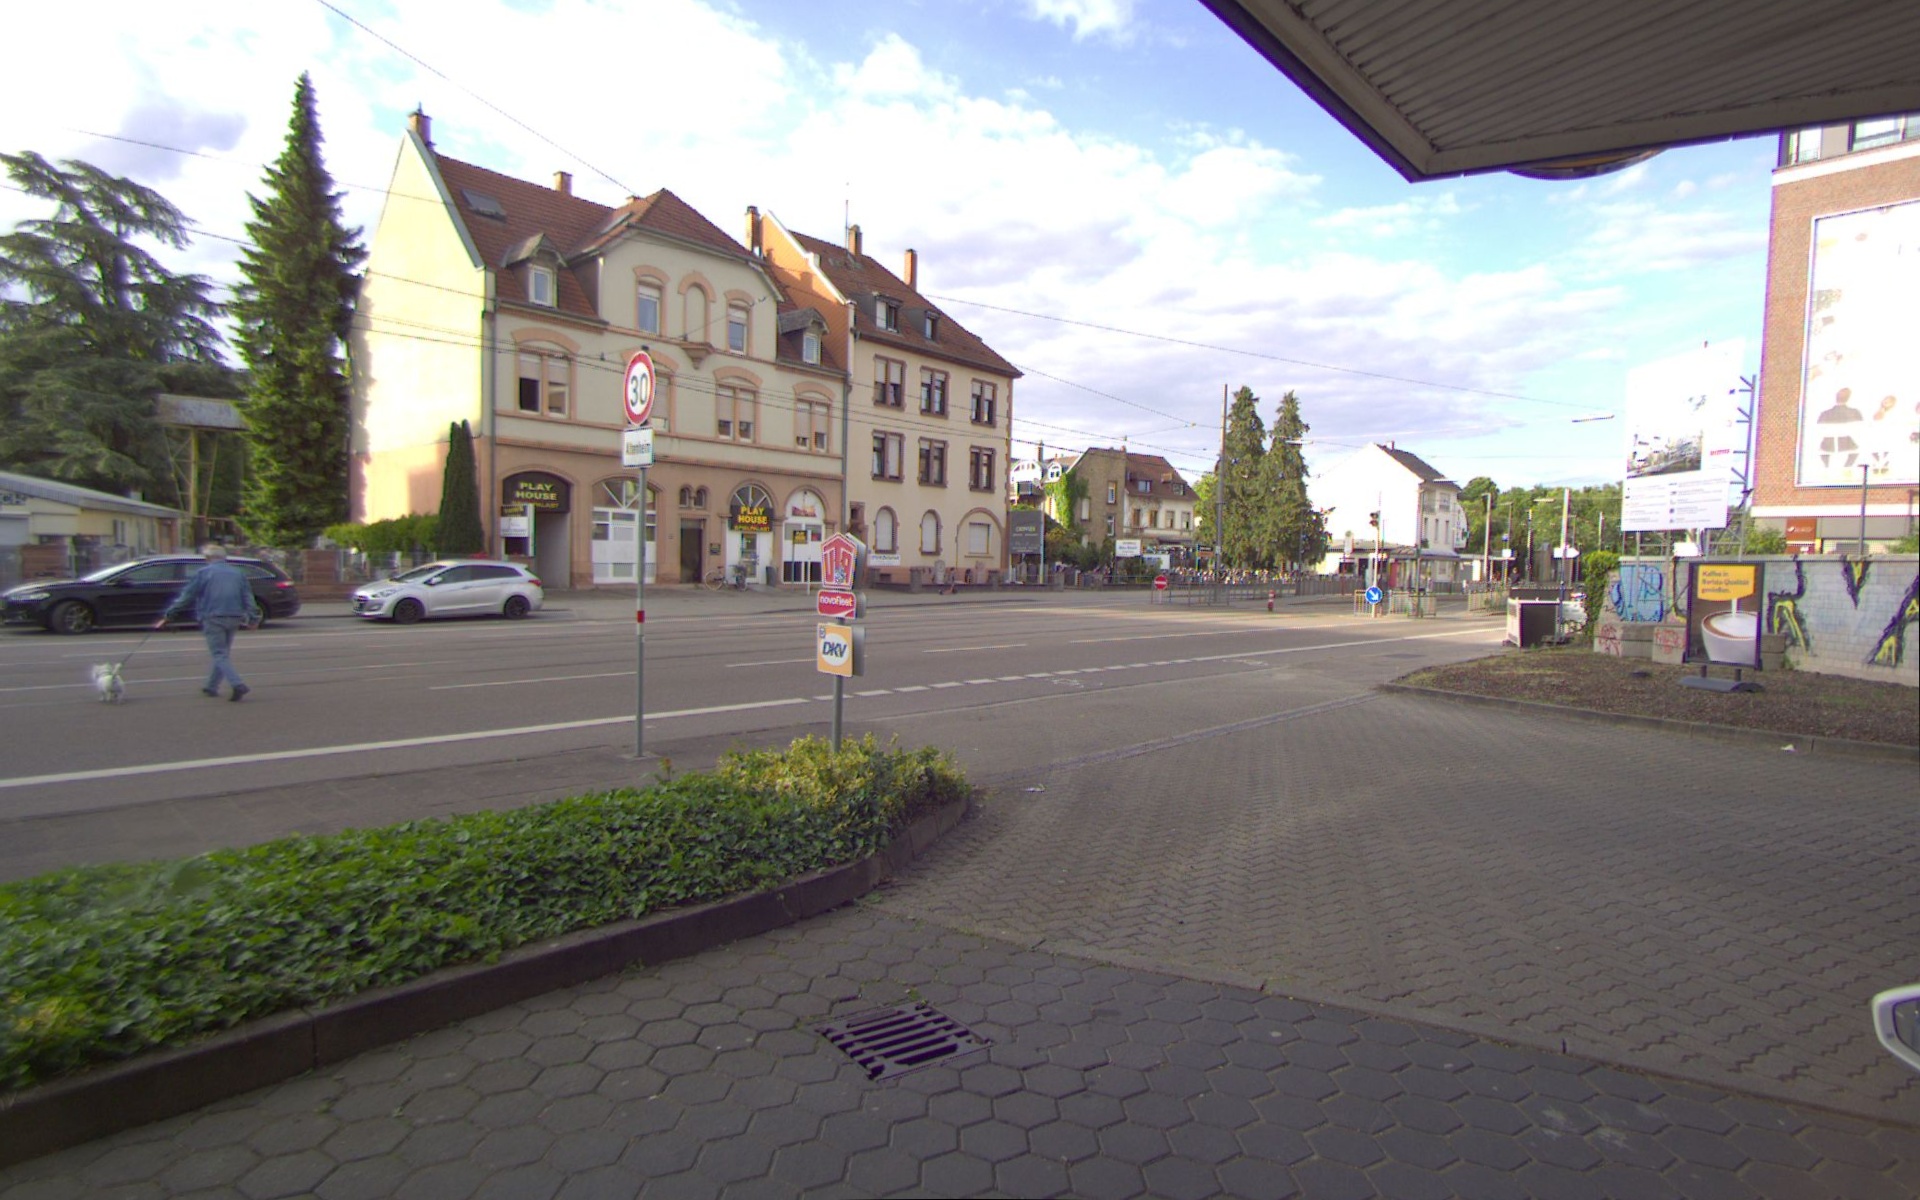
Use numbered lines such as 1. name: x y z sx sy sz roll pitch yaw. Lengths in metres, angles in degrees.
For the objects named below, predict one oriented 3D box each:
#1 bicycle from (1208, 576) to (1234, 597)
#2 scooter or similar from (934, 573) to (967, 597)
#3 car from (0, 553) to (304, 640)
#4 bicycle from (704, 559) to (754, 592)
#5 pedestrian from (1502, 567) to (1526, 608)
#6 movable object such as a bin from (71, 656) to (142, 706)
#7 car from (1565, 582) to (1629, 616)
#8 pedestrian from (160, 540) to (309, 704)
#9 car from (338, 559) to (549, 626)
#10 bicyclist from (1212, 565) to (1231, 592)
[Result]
1. bicycle: 15.200 -0.802 58.495 0.670 1.239 1.909 2 2 41
2. scooter or similar: -0.429 -0.662 45.101 0.461 1.041 1.655 4 3 40
3. car: -16.596 -0.138 20.726 1.983 1.520 4.755 4 4 39
4. bicycle: -9.100 -0.953 39.601 0.665 1.229 1.862 4 2 41
5. pedestrian: 28.213 -0.635 51.147 0.798 2.040 0.845 2 0 44
6. movable object such as a bin: -9.074 0.848 10.678 0.670 0.426 0.478 5 4 41
7. car: 30.642 -0.087 48.256 1.730 1.488 4.543 4 3 43
8. pedestrian: -8.071 0.201 11.208 0.952 1.690 1.003 4 4 24
9. car: -12.915 -0.233 25.347 1.699 1.503 4.434 4 4 40
10. bicyclist: 15.216 -1.238 58.477 0.670 1.555 1.080 2 2 41
